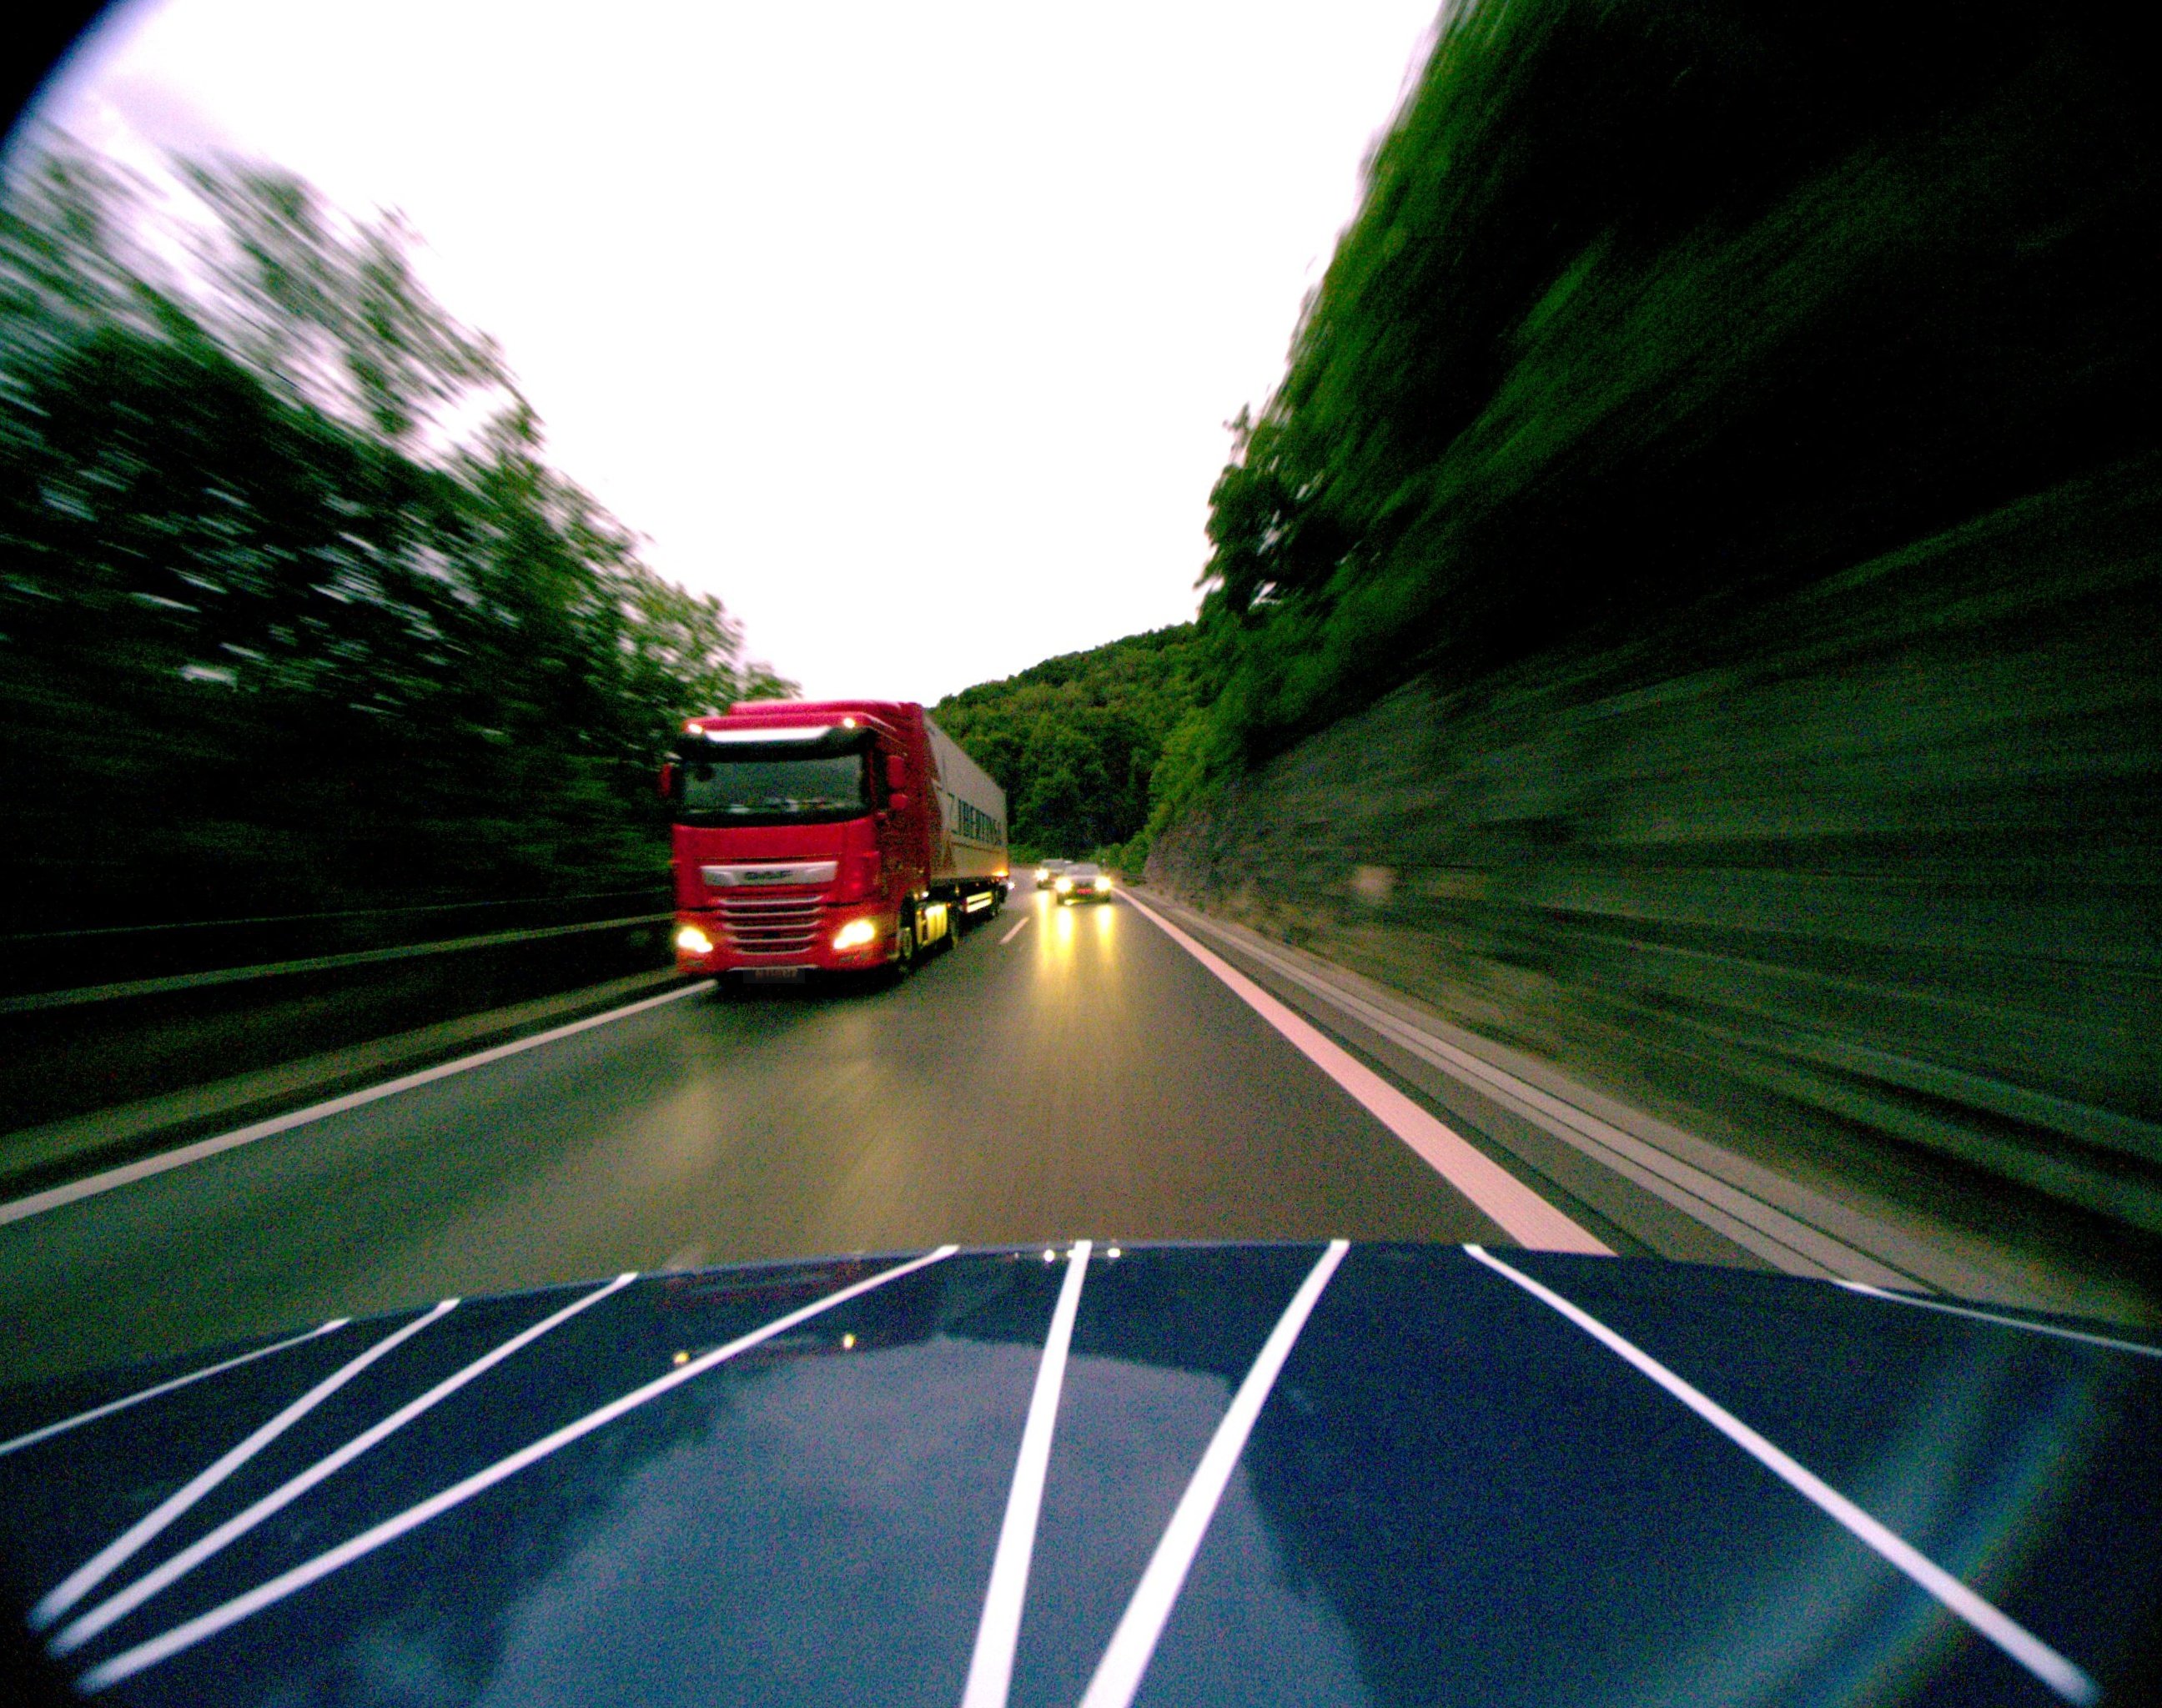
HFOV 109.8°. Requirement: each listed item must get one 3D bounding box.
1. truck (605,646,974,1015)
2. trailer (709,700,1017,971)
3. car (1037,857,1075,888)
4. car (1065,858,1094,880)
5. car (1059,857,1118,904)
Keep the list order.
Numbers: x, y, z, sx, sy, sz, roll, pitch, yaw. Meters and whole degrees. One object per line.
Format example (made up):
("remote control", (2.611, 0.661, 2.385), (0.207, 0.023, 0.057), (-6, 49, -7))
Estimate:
("truck", (-3.765, -0.252, 11.866), (3.077, 4.120, 6.447), (-1, 0, 1))
("trailer", (-3.783, -0.209, 18.192), (3.105, 3.946, 14.219), (0, 0, 1))
("car", (-1.436, 1.018, 43.265), (1.999, 1.630, 3.999), (-1, 0, -2))
("car", (-0.161, 1.134, 58.935), (1.999, 1.499, 3.999), (3, -1, -3))
("car", (0.319, 0.922, 27.935), (1.998, 1.499, 4.000), (-1, 1, 2))
